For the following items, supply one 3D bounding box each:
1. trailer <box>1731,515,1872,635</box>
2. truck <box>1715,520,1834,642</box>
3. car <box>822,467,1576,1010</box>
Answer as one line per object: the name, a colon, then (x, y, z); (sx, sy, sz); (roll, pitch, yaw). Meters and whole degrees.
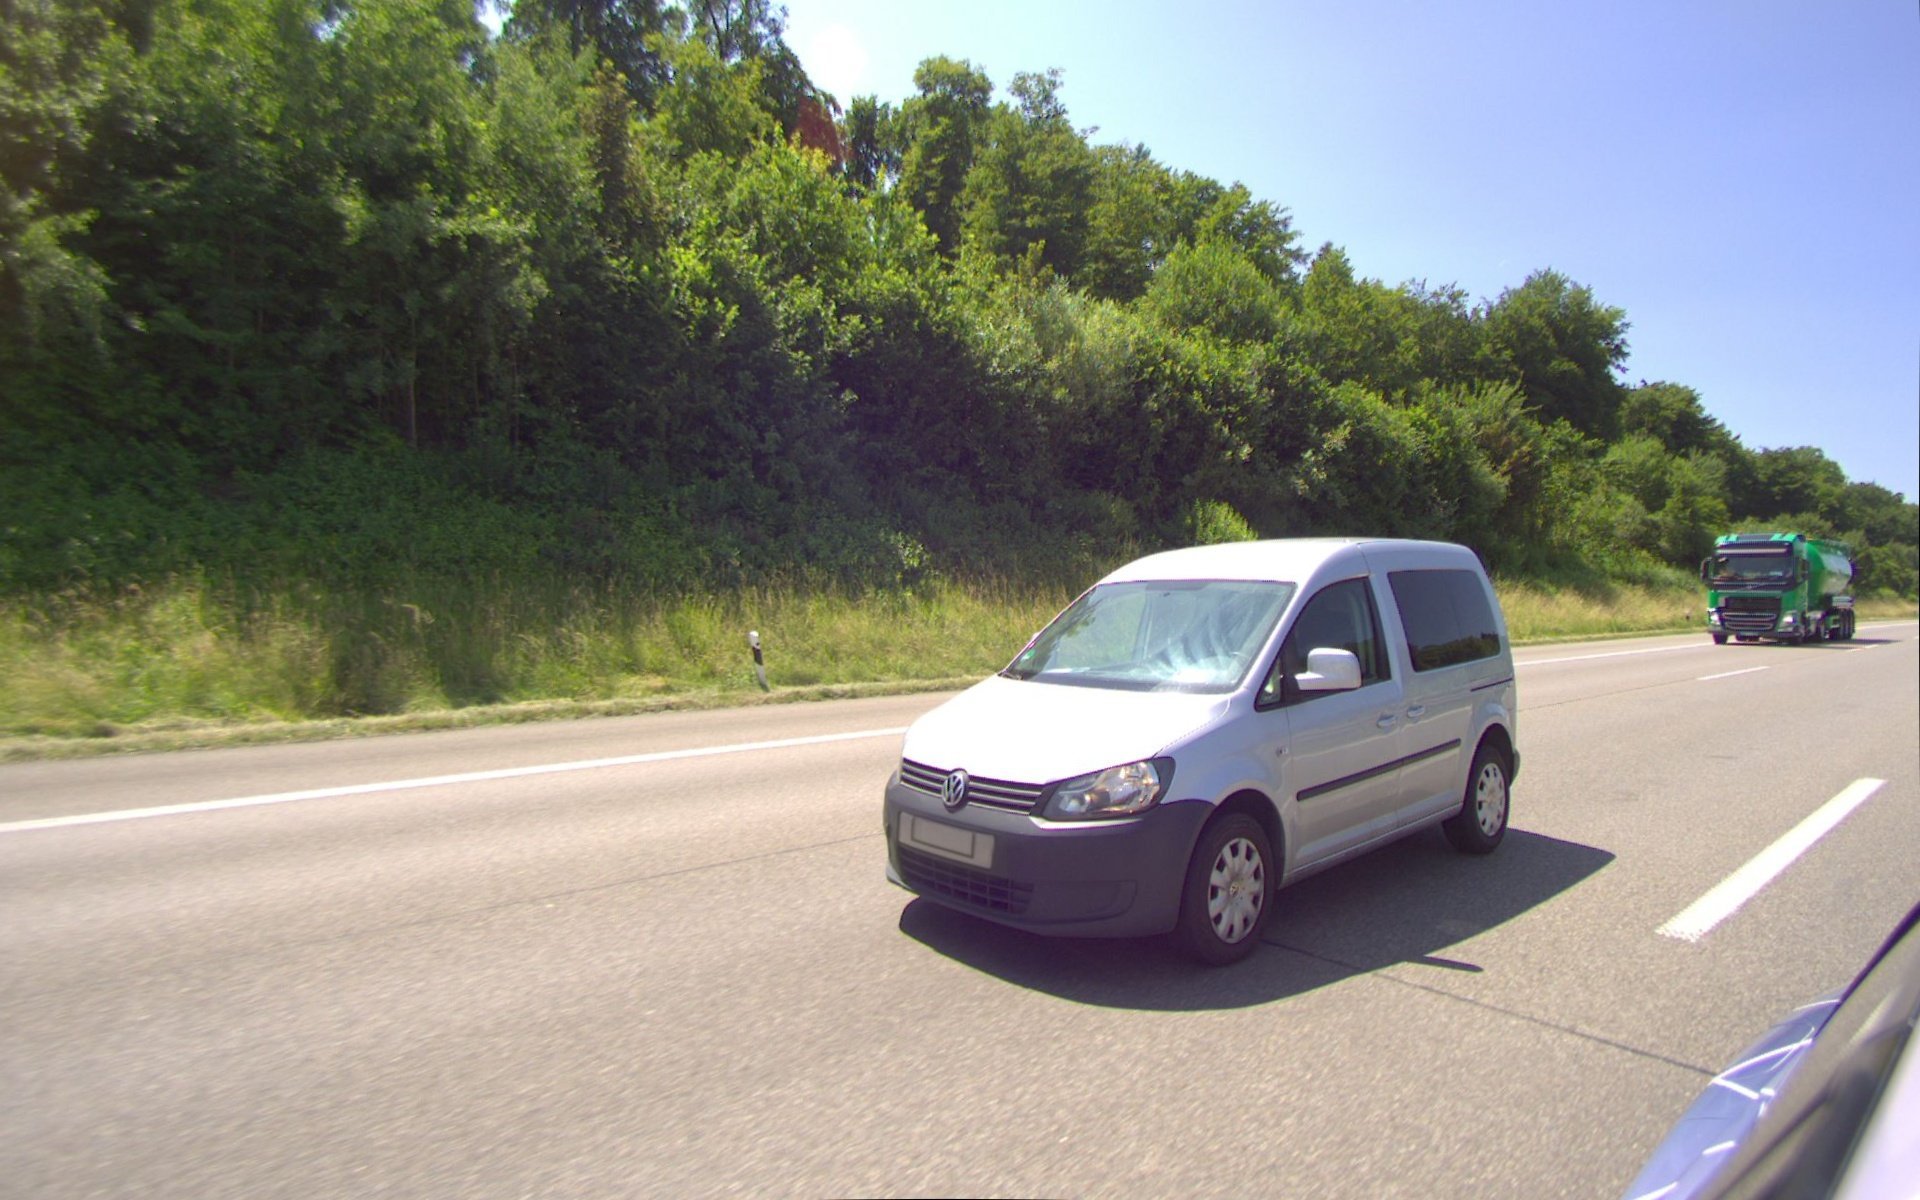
trailer: (32.343, -0.783, 38.709); (10.286, 4.079, 2.591); (1, -1, -41)
truck: (28.174, -0.589, 34.960); (4.808, 3.891, 2.513); (1, -1, -43)
car: (1.684, 0.461, 5.690); (4.718, 1.853, 1.748); (0, 0, -42)
